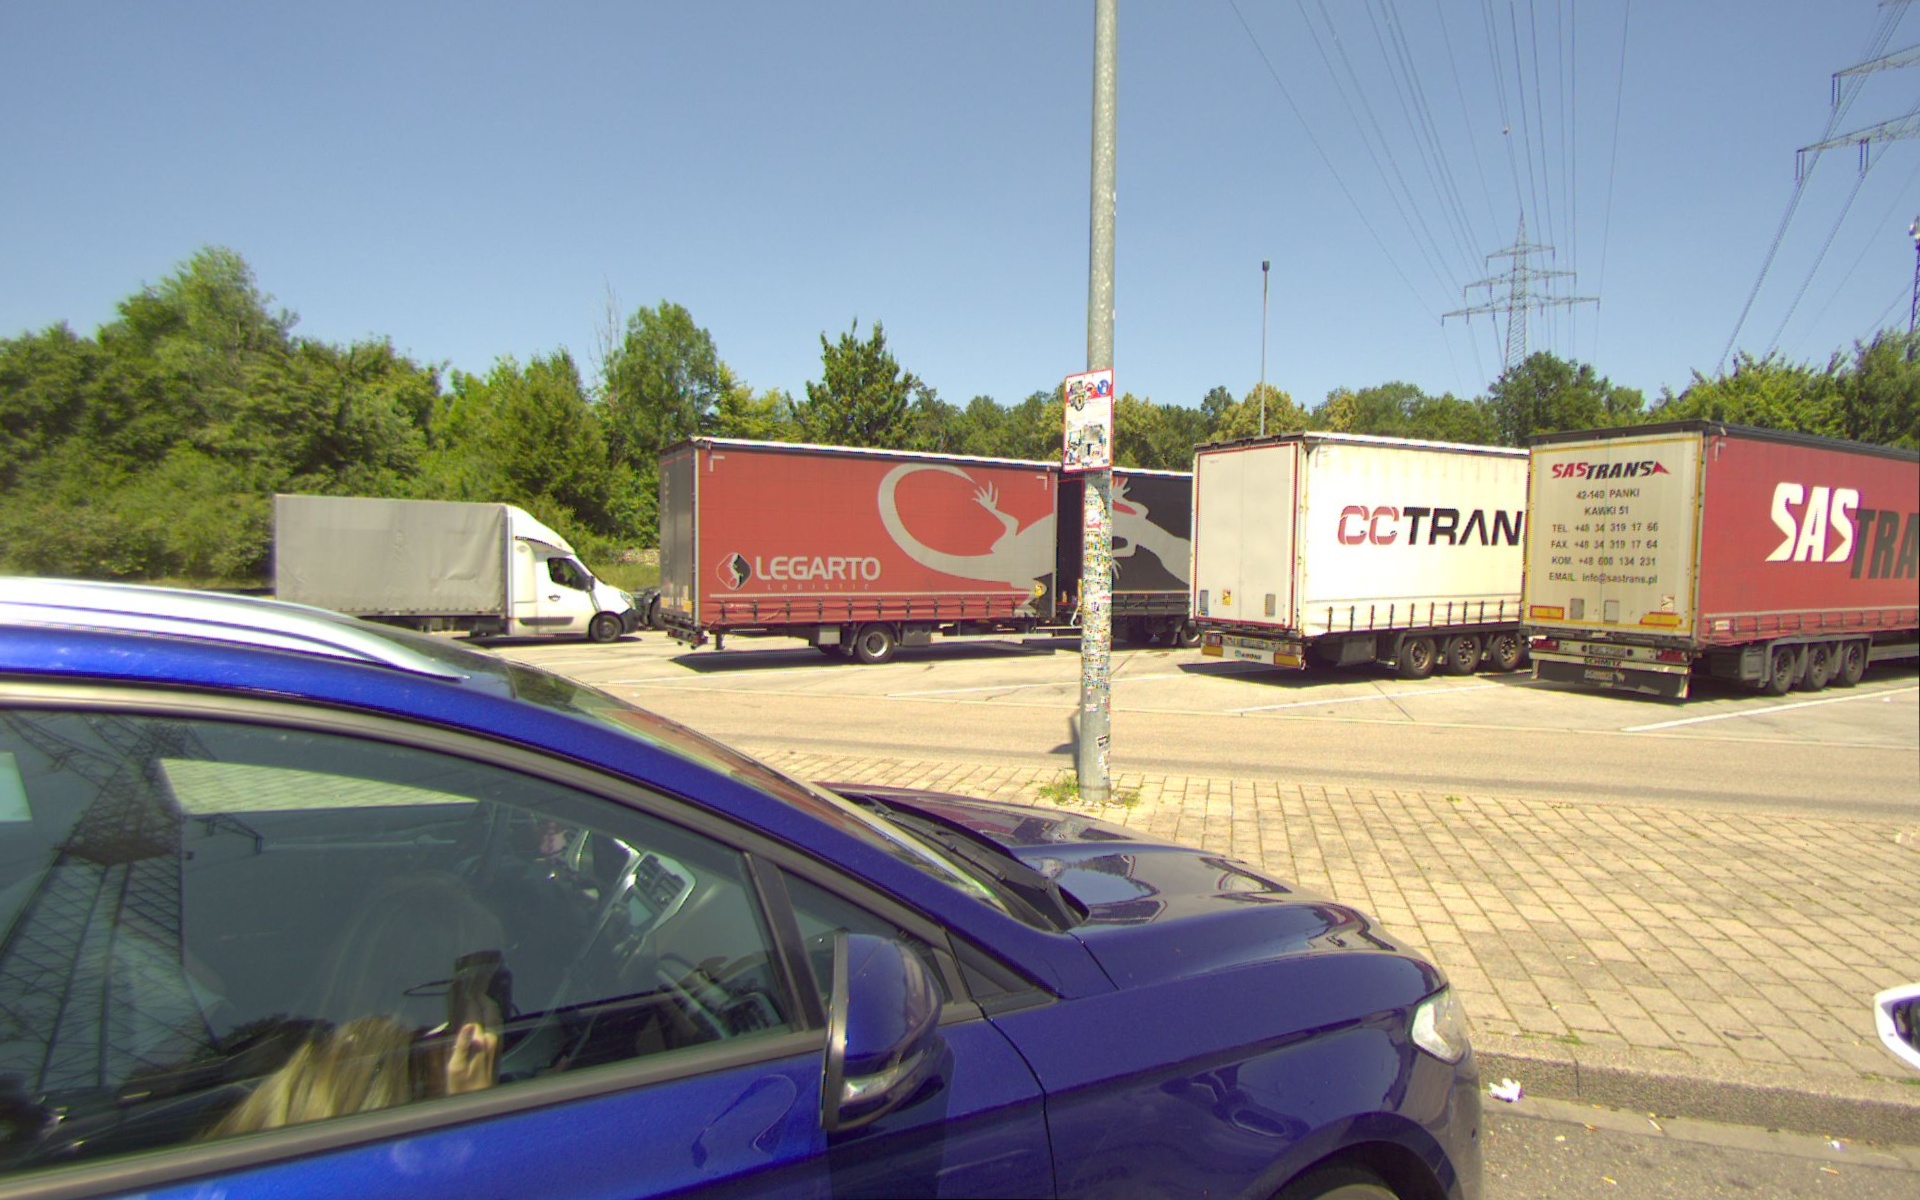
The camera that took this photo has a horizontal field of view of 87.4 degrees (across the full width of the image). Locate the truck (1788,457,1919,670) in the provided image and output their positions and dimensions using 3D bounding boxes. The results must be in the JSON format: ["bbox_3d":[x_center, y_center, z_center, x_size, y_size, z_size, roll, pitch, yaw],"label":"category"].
[{"bbox_3d":[21.128,-0.774,21.858,6.163,4.169,2.683,-1,3,-30],"label":"truck"}]

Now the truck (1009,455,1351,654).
[{"bbox_3d":[5.589,-1.081,24.823,8.683,4.248,2.800,-1,2,-30],"label":"truck"}]

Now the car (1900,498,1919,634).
[{"bbox_3d":[32.797,-0.926,28.651,8.296,4.100,2.689,1,3,15],"label":"car"}]

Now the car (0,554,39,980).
[{"bbox_3d":[-4.628,0.554,2.112,3.700,1.432,1.595,0,0,-32],"label":"car"}]

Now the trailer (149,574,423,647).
[{"bbox_3d":[-15.963,0.236,24.177,5.332,1.617,1.585,0,0,-30],"label":"trailer"}]

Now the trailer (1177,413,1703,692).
[{"bbox_3d":[10.097,-0.884,20.061,12.786,4.325,2.800,-1,2,-31],"label":"trailer"}]

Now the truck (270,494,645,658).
[{"bbox_3d":[-11.128,-0.590,22.871,7.219,3.277,2.308,-2,3,-29],"label":"truck"}]

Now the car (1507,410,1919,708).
[{"bbox_3d":[15.203,-0.694,18.447,12.777,4.169,2.683,-1,3,-30],"label":"car"}]

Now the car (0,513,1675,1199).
[{"bbox_3d":[-1.002,0.669,1.460,4.380,1.464,1.771,0,0,-32],"label":"car"}]

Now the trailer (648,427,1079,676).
[{"bbox_3d":[-1.757,-0.932,20.500,8.389,4.248,2.800,-1,2,-30],"label":"trailer"}]

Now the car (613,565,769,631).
[{"bbox_3d":[-7.618,-0.052,28.513,3.953,1.773,1.902,0,0,-30],"label":"car"}]
